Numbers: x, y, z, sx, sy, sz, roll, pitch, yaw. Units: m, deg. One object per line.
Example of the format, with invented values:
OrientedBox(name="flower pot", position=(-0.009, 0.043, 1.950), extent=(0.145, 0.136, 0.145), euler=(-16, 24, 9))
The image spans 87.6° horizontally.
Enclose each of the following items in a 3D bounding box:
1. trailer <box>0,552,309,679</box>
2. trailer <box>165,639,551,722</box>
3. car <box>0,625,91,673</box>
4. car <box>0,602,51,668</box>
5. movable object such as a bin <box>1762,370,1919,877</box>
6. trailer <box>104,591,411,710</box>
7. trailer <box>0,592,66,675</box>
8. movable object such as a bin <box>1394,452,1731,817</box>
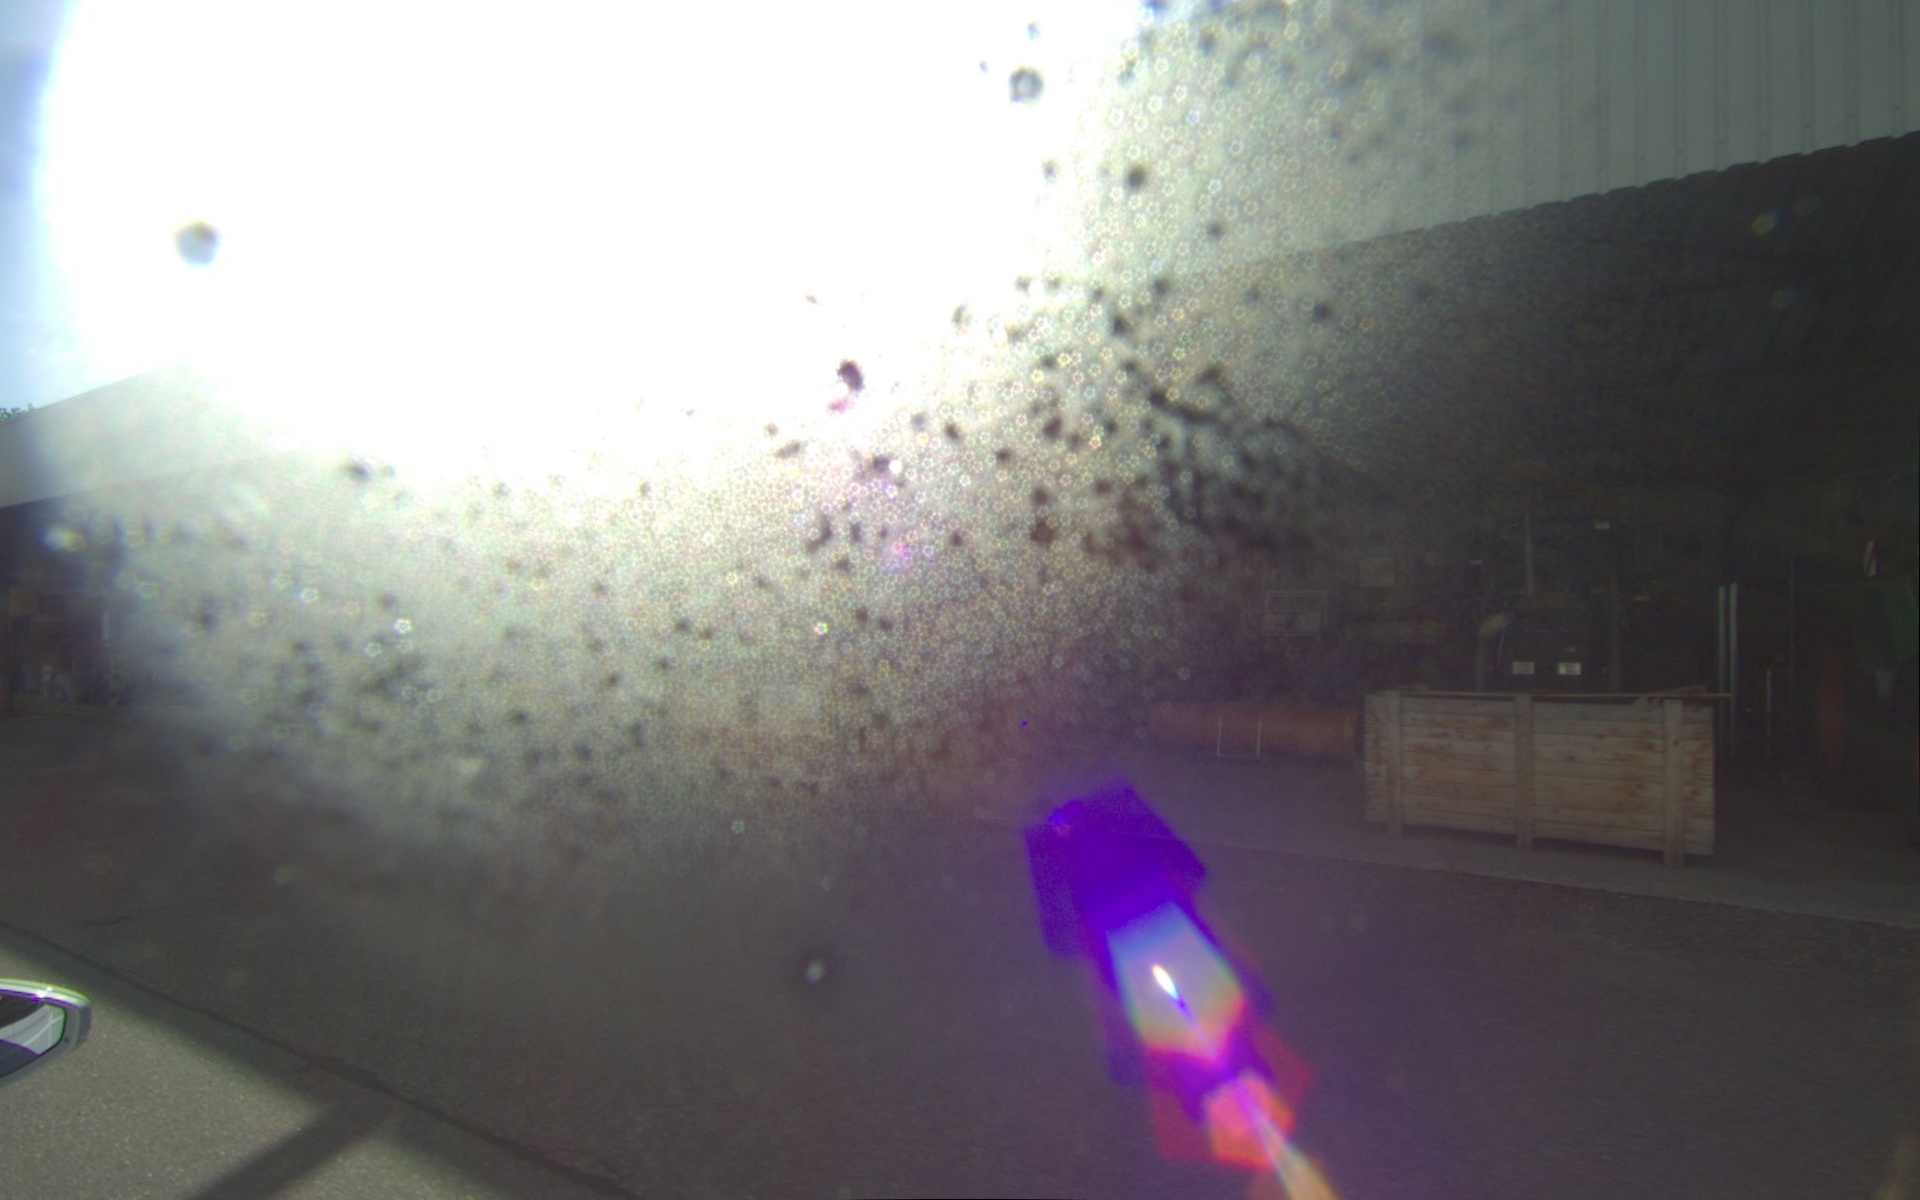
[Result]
OrientedBox(name="trailer", position=(-25.422, 0.500, 29.552), extent=(2.761, 3.386, 10.250), euler=(0, -2, 32))
OrientedBox(name="trailer", position=(-10.397, 1.317, 17.929), extent=(1.945, 1.200, 5.721), euler=(-1, -2, 31))
OrientedBox(name="car", position=(-30.204, 1.522, 31.290), extent=(1.841, 1.490, 4.246), euler=(0, -2, 29))
OrientedBox(name="car", position=(-35.337, 1.200, 34.682), extent=(2.121, 2.309, 5.326), euler=(-1, -3, 31))
OrientedBox(name="movable object such as a bin", position=(8.267, 0.223, 7.589), extent=(2.780, 2.962, 5.824), euler=(0, -2, 33))
OrientedBox(name="trailer", position=(-13.385, 0.923, 19.359), extent=(2.133, 2.016, 4.413), euler=(-1, -2, 34))
OrientedBox(name="trailer", position=(-28.857, 0.971, 28.689), extent=(2.019, 2.372, 4.507), euler=(-1, -2, 33))
OrientedBox(name="movable object such as a bin", position=(6.255, 0.360, 10.467), extent=(2.462, 2.867, 4.519), euler=(0, -2, 33))
